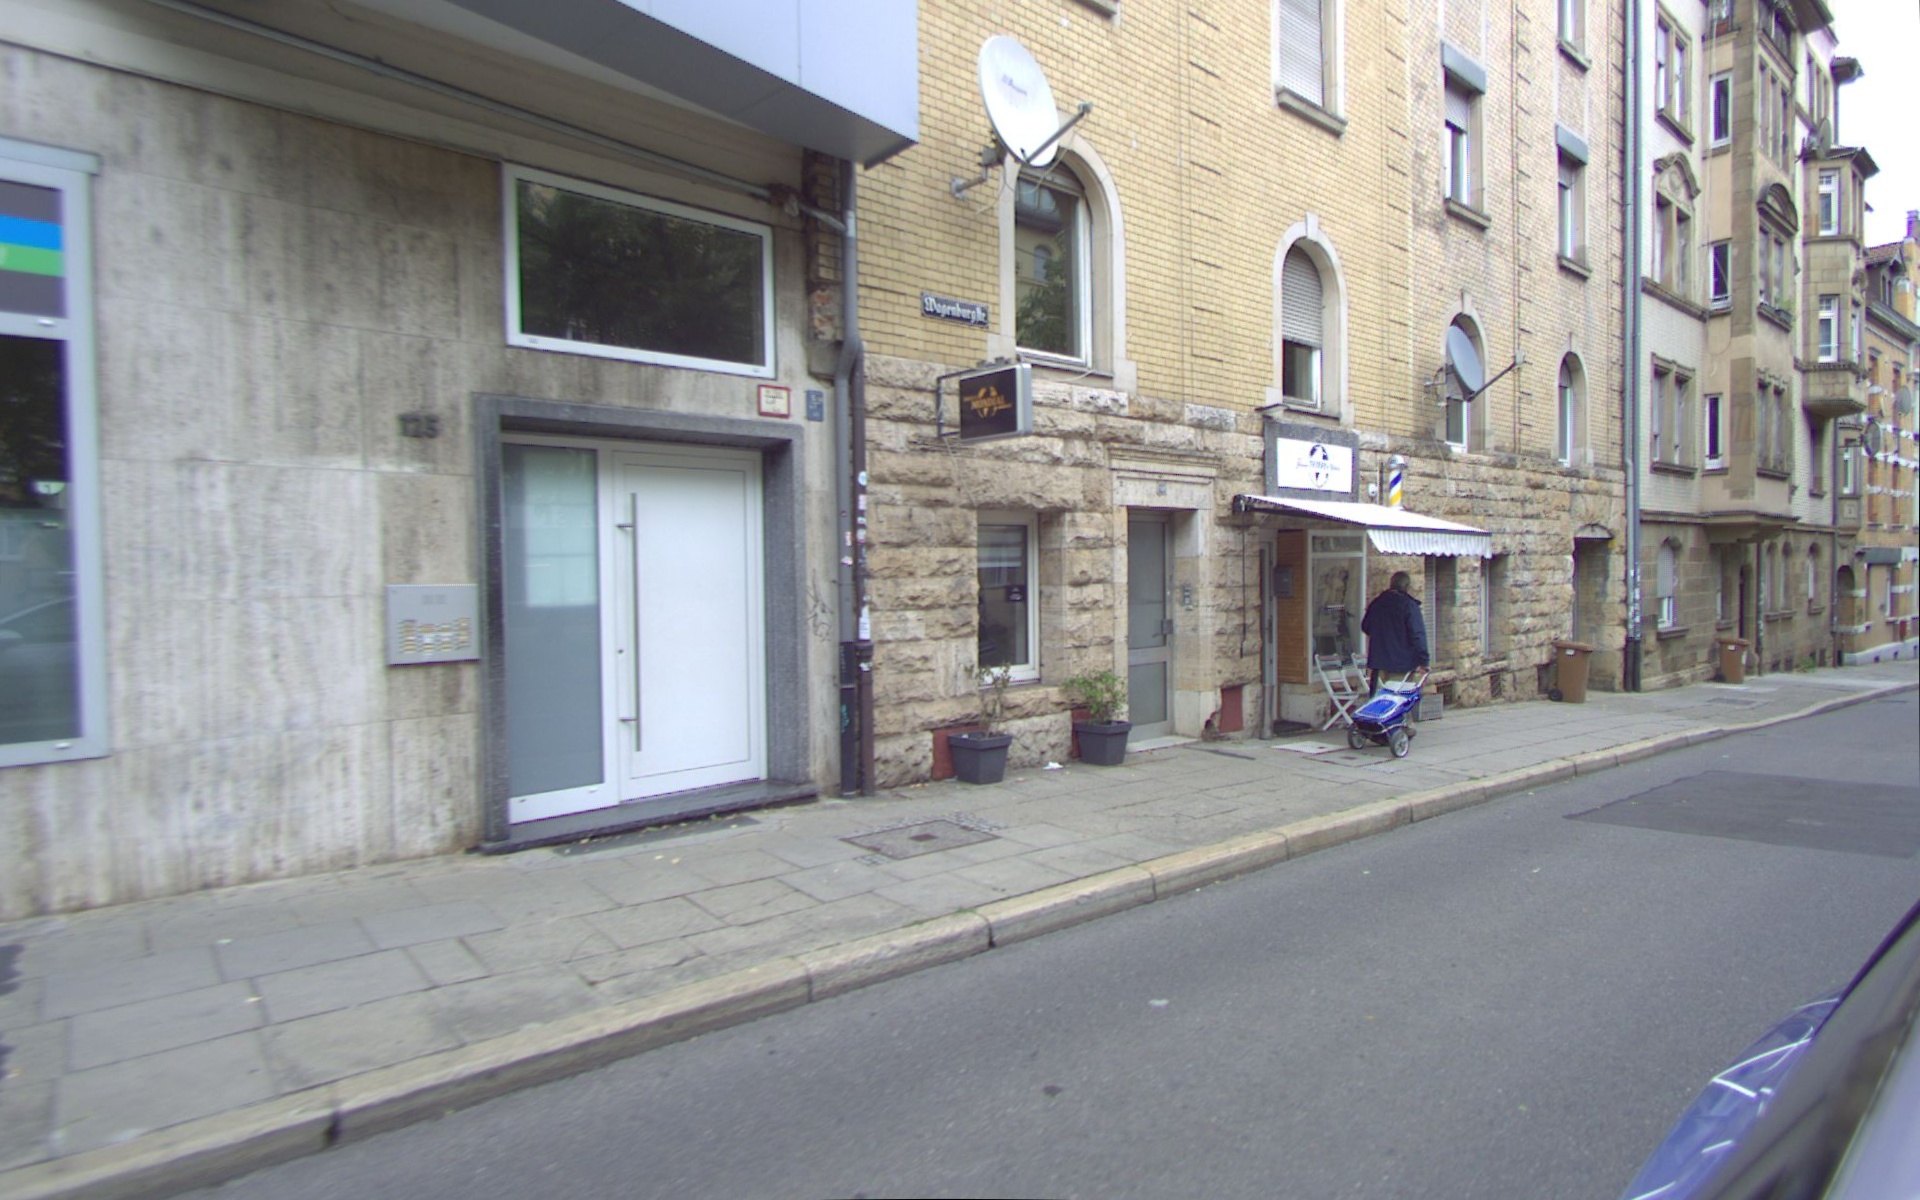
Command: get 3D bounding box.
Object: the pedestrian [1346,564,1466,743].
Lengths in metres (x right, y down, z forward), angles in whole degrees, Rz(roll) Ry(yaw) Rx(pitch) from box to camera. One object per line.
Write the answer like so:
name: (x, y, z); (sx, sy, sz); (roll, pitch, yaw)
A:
pedestrian: (4.550, 0.511, 10.322); (0.843, 1.713, 0.753); (1, 2, -39)

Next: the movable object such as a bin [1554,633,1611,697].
movable object such as a bin: (9.528, 0.983, 15.502); (0.494, 0.915, 0.595); (-4, 2, -38)

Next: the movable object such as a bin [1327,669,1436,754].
movable object such as a bin: (4.008, 1.042, 9.619); (0.843, 0.677, 0.609); (1, 2, -39)

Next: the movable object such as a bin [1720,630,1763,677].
movable object such as a bin: (16.052, 1.096, 20.787); (0.552, 0.915, 0.595); (1, -1, -38)
